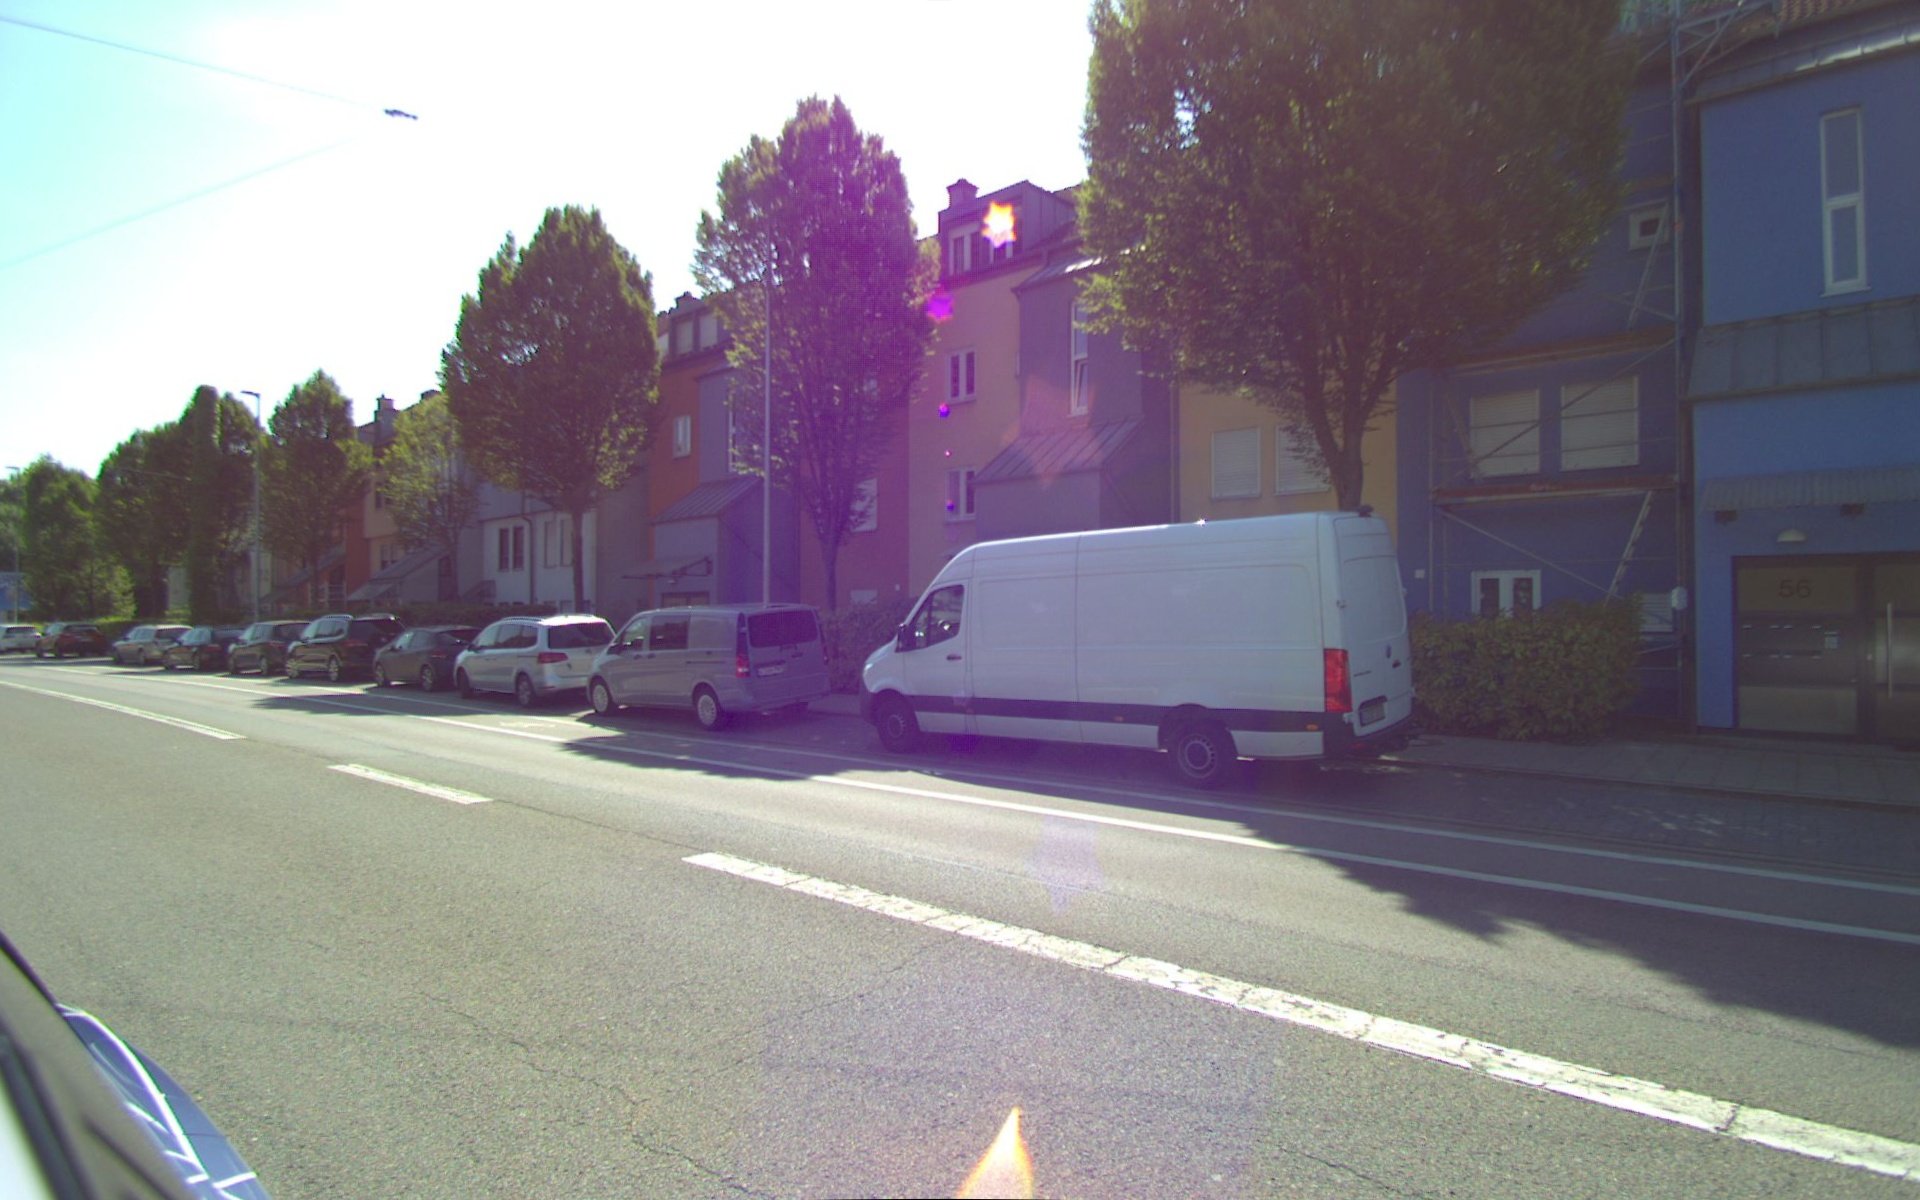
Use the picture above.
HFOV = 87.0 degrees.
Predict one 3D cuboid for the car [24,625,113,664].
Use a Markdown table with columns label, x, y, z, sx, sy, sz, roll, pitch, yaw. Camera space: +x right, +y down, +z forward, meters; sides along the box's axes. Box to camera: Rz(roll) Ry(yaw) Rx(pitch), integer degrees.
| label | x | y | z | sx | sy | sz | roll | pitch | yaw |
| --- | --- | --- | --- | --- | --- | --- | --- | --- | --- |
| car | -39.709 | 1.945 | 45.044 | 4.920 | 1.588 | 1.889 | -1 | 0 | 35 |

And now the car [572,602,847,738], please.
| label | x | y | z | sx | sy | sz | roll | pitch | yaw |
| --- | --- | --- | --- | --- | --- | --- | --- | --- | --- |
| car | -4.357 | 1.070 | 17.151 | 4.964 | 1.879 | 1.973 | -1 | 2 | 41 |

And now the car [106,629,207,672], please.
| label | x | y | z | sx | sy | sz | roll | pitch | yaw |
| --- | --- | --- | --- | --- | --- | --- | --- | --- | --- |
| car | -30.455 | 1.870 | 38.311 | 4.826 | 1.457 | 1.663 | -1 | 0 | 35 |

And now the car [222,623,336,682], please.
| label | x | y | z | sx | sy | sz | roll | pitch | yaw |
| --- | --- | --- | --- | --- | --- | --- | --- | --- | --- |
| car | -20.735 | 1.529 | 30.768 | 4.159 | 1.619 | 1.661 | -1 | 0 | 38 |

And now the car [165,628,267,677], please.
| label | x | y | z | sx | sy | sz | roll | pitch | yaw |
| --- | --- | --- | --- | --- | --- | --- | --- | --- | --- |
| car | -25.163 | 1.731 | 34.188 | 4.207 | 1.481 | 1.661 | -1 | 0 | 38 |

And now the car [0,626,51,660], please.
| label | x | y | z | sx | sy | sz | roll | pitch | yaw |
| --- | --- | --- | --- | --- | --- | --- | --- | --- | --- |
| car | -46.276 | 2.080 | 49.336 | 4.123 | 1.510 | 2.017 | -1 | 0 | 35 |

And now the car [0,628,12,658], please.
| label | x | y | z | sx | sy | sz | roll | pitch | yaw |
| --- | --- | --- | --- | --- | --- | --- | --- | --- | --- |
| car | -50.492 | 2.201 | 51.901 | 4.206 | 1.489 | 1.893 | -1 | 0 | 35 |

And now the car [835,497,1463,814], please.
| label | x | y | z | sx | sy | sz | roll | pitch | yaw |
| --- | --- | --- | --- | --- | --- | --- | --- | --- | --- |
| car | 1.687 | 0.492 | 11.709 | 7.084 | 2.697 | 1.973 | -1 | 1 | 42 |

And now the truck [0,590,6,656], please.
| label | x | y | z | sx | sy | sz | roll | pitch | yaw |
| --- | --- | --- | --- | --- | --- | --- | --- | --- | --- |
| truck | -56.531 | 1.300 | 56.379 | 8.763 | 3.581 | 3.129 | -1 | -2 | 35 |

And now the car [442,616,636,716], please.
| label | x | y | z | sx | sy | sz | roll | pitch | yaw |
| --- | --- | --- | --- | --- | --- | --- | --- | --- | --- |
| car | -8.695 | 1.239 | 20.719 | 4.539 | 1.715 | 1.829 | -1 | 2 | 42 |

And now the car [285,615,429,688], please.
| label | x | y | z | sx | sy | sz | roll | pitch | yaw |
| --- | --- | --- | --- | --- | --- | --- | --- | --- | --- |
| car | -16.184 | 1.317 | 27.097 | 4.343 | 1.741 | 1.812 | -1 | 1 | 38 |

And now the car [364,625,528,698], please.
| label | x | y | z | sx | sy | sz | roll | pitch | yaw |
| --- | --- | --- | --- | --- | --- | --- | --- | --- | --- |
| car | -12.190 | 1.378 | 23.904 | 4.069 | 1.466 | 1.849 | -1 | 2 | 38 |
